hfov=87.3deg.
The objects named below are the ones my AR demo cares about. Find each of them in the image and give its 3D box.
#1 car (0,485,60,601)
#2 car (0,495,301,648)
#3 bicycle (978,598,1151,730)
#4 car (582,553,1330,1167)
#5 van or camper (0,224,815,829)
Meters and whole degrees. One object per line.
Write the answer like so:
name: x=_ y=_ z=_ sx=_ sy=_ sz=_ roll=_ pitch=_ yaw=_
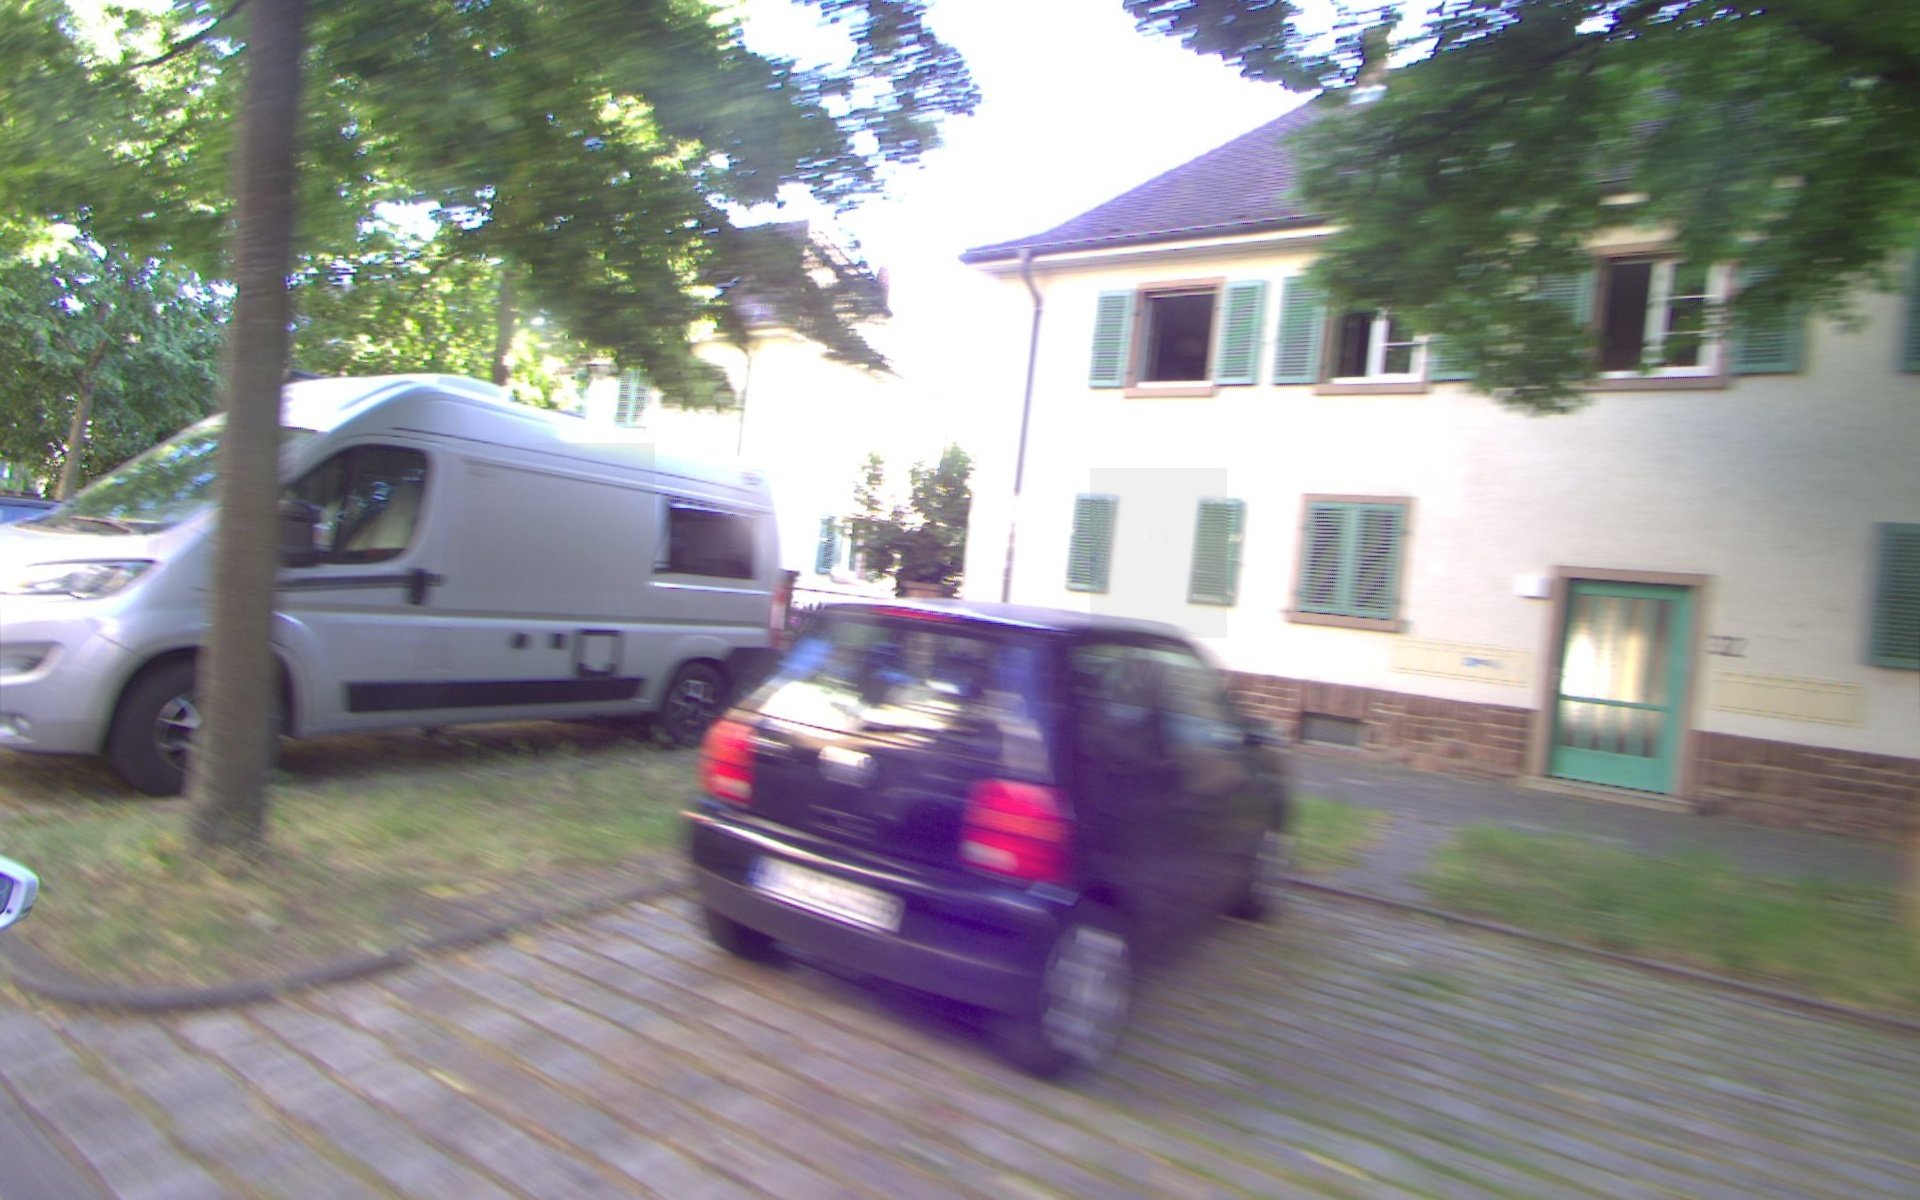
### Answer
car: x=-15.185 y=-0.973 z=13.502 sx=1.723 sy=1.626 sz=4.250 roll=5 pitch=0 yaw=28
car: x=-10.243 y=-0.357 z=11.162 sx=1.786 sy=1.471 sz=4.506 roll=5 pitch=-1 yaw=32
bicycle: x=1.355 y=0.805 z=13.006 sx=1.967 sy=1.416 sz=0.802 roll=6 pitch=0 yaw=19
car: x=0.377 y=0.741 z=4.519 sx=1.722 sy=1.490 sz=3.505 roll=5 pitch=0 yaw=30
van or camper: x=-3.728 y=-0.275 z=7.208 sx=2.230 sy=2.569 sz=5.579 roll=5 pitch=1 yaw=29
